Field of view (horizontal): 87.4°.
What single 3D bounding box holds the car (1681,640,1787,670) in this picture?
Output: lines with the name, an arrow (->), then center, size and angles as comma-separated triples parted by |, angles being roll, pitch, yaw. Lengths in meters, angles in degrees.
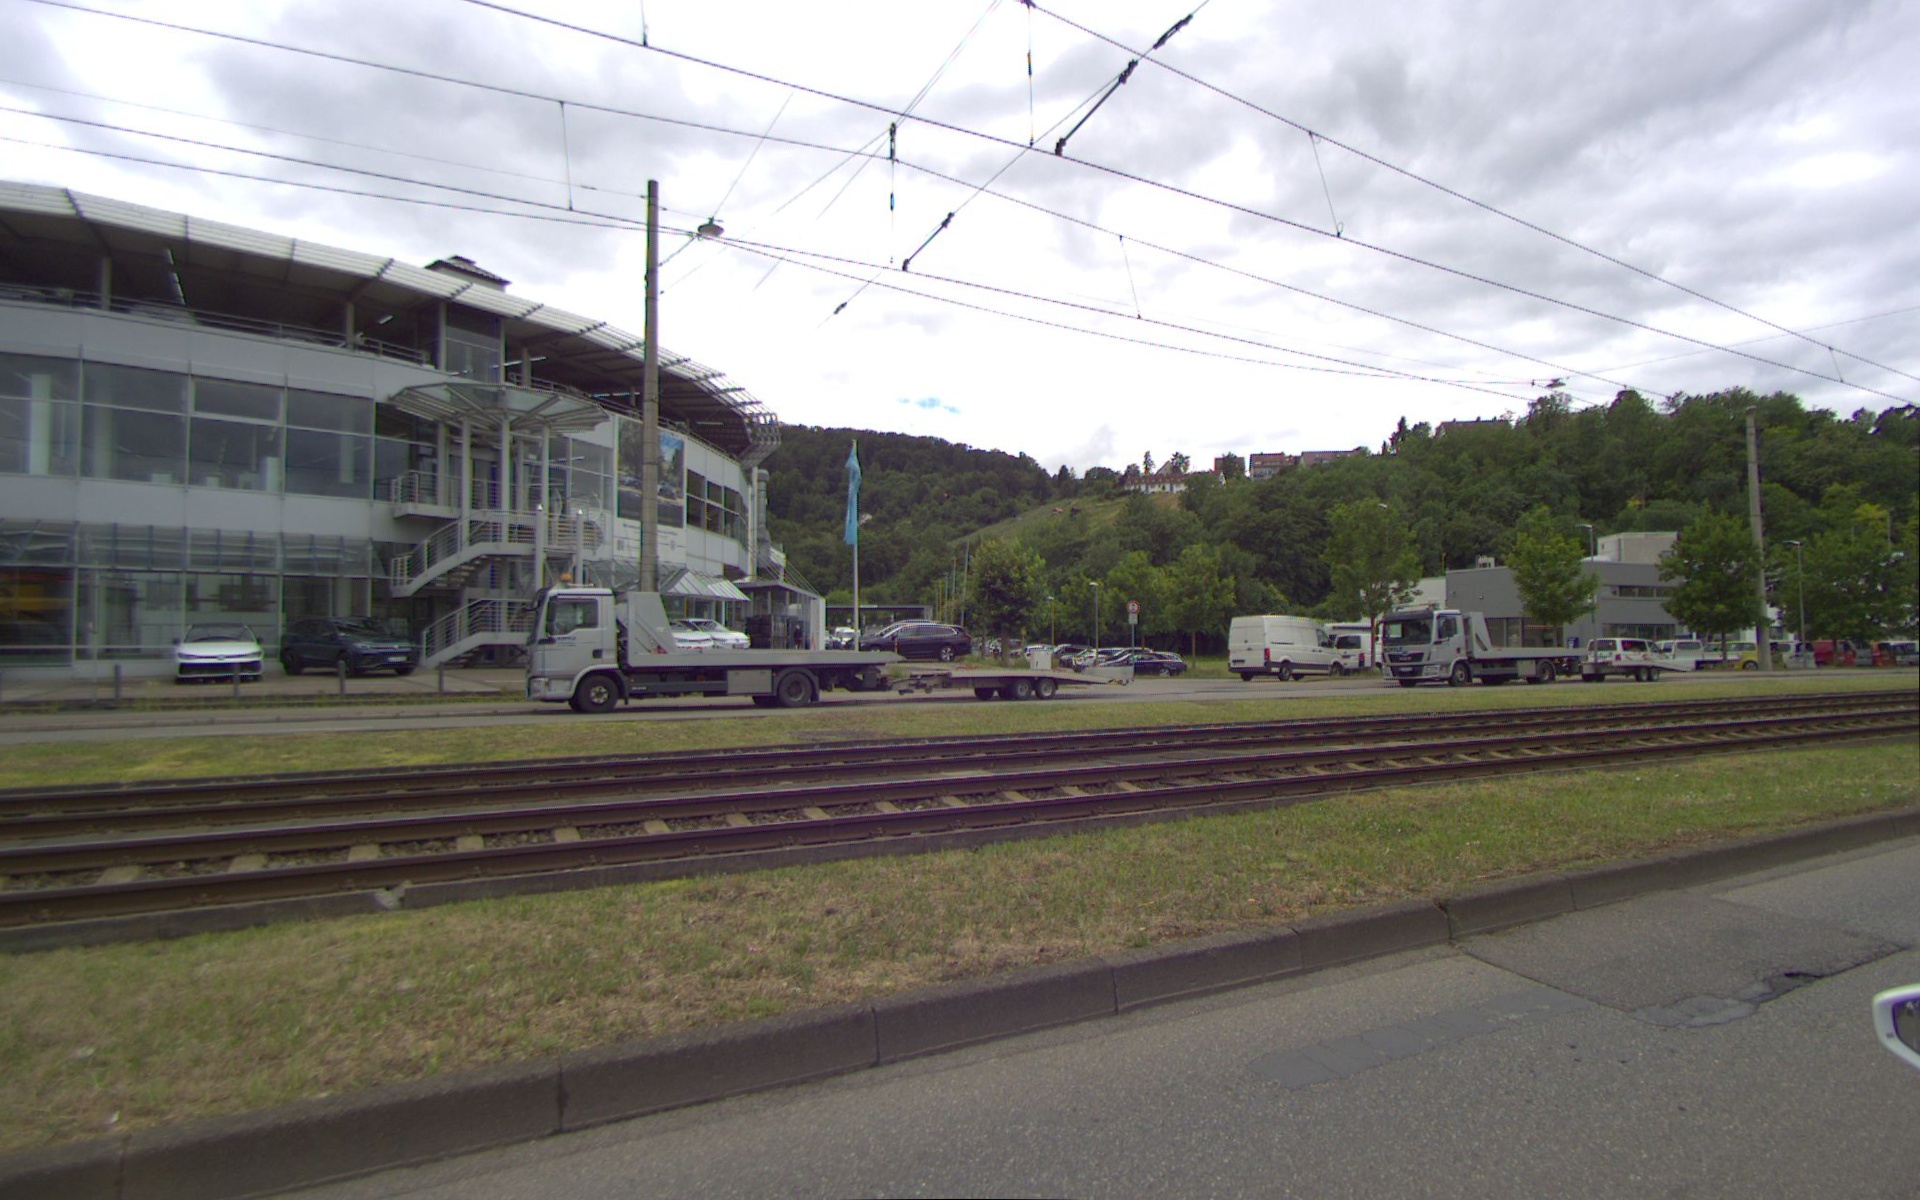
car -> 45.532, 3.251, 59.192 | 1.974, 1.595, 4.581 | 5, -5, -26

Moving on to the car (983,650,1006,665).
car -> 3.657, 6.047, 106.286 | 1.892, 1.549, 3.997 | 0, -2, -6

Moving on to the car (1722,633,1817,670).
car -> 48.379, 3.068, 60.090 | 1.974, 2.039, 3.976 | 5, -4, -25

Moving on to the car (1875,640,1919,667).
car -> 62.841, 3.483, 65.758 | 1.807, 1.728, 3.981 | 1, -3, -22

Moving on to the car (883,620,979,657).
car -> -1.353, 1.753, 45.433 | 4.194, 1.594, 1.871 | 0, -2, -6

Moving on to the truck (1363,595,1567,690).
truck -> 17.591, 1.465, 34.967 | 6.822, 3.029, 2.873 | 1, -2, -27

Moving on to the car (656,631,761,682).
car -> -9.929, 2.195, 39.562 | 3.941, 1.794, 1.991 | 0, -5, 41

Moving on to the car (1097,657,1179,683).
car -> 9.194, 3.610, 52.027 | 3.924, 1.283, 1.610 | 0, -2, -5

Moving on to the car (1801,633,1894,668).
car -> 55.985, 3.219, 63.462 | 1.974, 2.039, 3.976 | 5, -4, -25

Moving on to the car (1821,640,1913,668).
car -> 58.051, 3.436, 64.371 | 1.807, 1.728, 3.981 | 1, -3, -21

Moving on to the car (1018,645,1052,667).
car -> 5.616, 4.215, 75.817 | 1.892, 1.549, 3.997 | 0, -2, -6

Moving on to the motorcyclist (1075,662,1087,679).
motorcyclist -> 6.872, 4.003, 57.060 | 0.549, 0.958, 0.659 | 0, -2, -4

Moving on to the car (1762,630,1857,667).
car -> 51.471, 2.944, 60.968 | 1.974, 2.039, 3.976 | 5, -4, -25

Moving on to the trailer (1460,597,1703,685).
trailer -> 23.808, 1.549, 38.257 | 10.655, 3.021, 2.881 | 1, -2, -28

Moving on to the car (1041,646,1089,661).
car -> 9.021, 4.612, 86.570 | 3.924, 1.283, 1.610 | 0, -2, -5

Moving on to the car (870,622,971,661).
car -> -1.724, 1.788, 43.051 | 4.194, 1.594, 1.871 | 0, -2, -6

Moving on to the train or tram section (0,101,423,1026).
train or tram section -> -7.939, -0.144, 4.133 | 10.070, 4.118, 2.960 | 0, -2, -29

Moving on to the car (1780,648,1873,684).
car -> 53.843, 4.080, 62.486 | 1.974, 2.039, 3.976 | 5, -4, -25

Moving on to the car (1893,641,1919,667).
car -> 65.078, 3.563, 66.805 | 1.807, 1.728, 3.981 | 0, -3, -22

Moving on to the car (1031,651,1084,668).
car -> 7.693, 4.678, 79.215 | 3.924, 1.283, 1.610 | 0, -2, -5

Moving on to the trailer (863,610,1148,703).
trailer -> 1.272, 1.448, 25.990 | 7.228, 2.155, 2.283 | 1, -5, -29

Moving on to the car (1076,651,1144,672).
car -> 9.384, 3.830, 63.002 | 3.924, 1.283, 1.610 | 0, -2, -5

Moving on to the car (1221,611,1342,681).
car -> 13.220, 1.880, 41.129 | 5.389, 2.680, 1.988 | 2, -3, -37

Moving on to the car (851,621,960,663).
car -> -2.186, 1.654, 39.751 | 4.194, 1.594, 1.871 | 0, -2, -6

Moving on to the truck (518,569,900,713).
truck -> -5.395, 0.958, 22.328 | 7.926, 2.775, 2.275 | 2, -3, -29

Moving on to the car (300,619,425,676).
car -> -16.951, 1.310, 28.446 | 3.939, 1.505, 1.788 | -1, -3, 39

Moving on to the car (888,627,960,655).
car -> -2.173, 2.449, 59.943 | 4.194, 1.594, 1.871 | 0, -2, -6

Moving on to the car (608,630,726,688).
car -> -10.688, 2.147, 36.607 | 3.933, 1.794, 1.996 | 1, -6, 34

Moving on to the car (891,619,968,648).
car -> -1.718, 1.878, 56.361 | 4.194, 1.594, 1.871 | 0, -2, -6

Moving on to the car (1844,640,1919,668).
car -> 60.161, 3.468, 65.047 | 1.807, 1.728, 3.981 | 0, -3, -22

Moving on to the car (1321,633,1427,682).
car -> 18.409, 2.577, 44.680 | 4.203, 1.900, 2.148 | 5, -5, -28

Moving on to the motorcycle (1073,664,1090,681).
motorcycle -> 6.876, 4.111, 57.064 | 0.582, 0.864, 1.936 | 0, -2, -4

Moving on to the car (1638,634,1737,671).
car -> 40.677, 2.980, 56.317 | 1.963, 1.922, 4.608 | 3, -4, -6

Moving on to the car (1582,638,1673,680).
car -> 34.979, 3.102, 52.643 | 4.551, 1.922, 1.987 | 5, -4, -26

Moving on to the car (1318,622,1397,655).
car -> 27.190, 2.674, 68.852 | 4.784, 2.220, 1.610 | 0, -2, -2

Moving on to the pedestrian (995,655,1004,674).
pedestrian -> 2.732, 4.481, 69.720 | 0.394, 1.308, 0.440 | 5, -4, -24

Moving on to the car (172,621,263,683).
car -> -19.611, 1.332, 26.534 | 1.779, 1.505, 3.958 | 2, -3, -37
